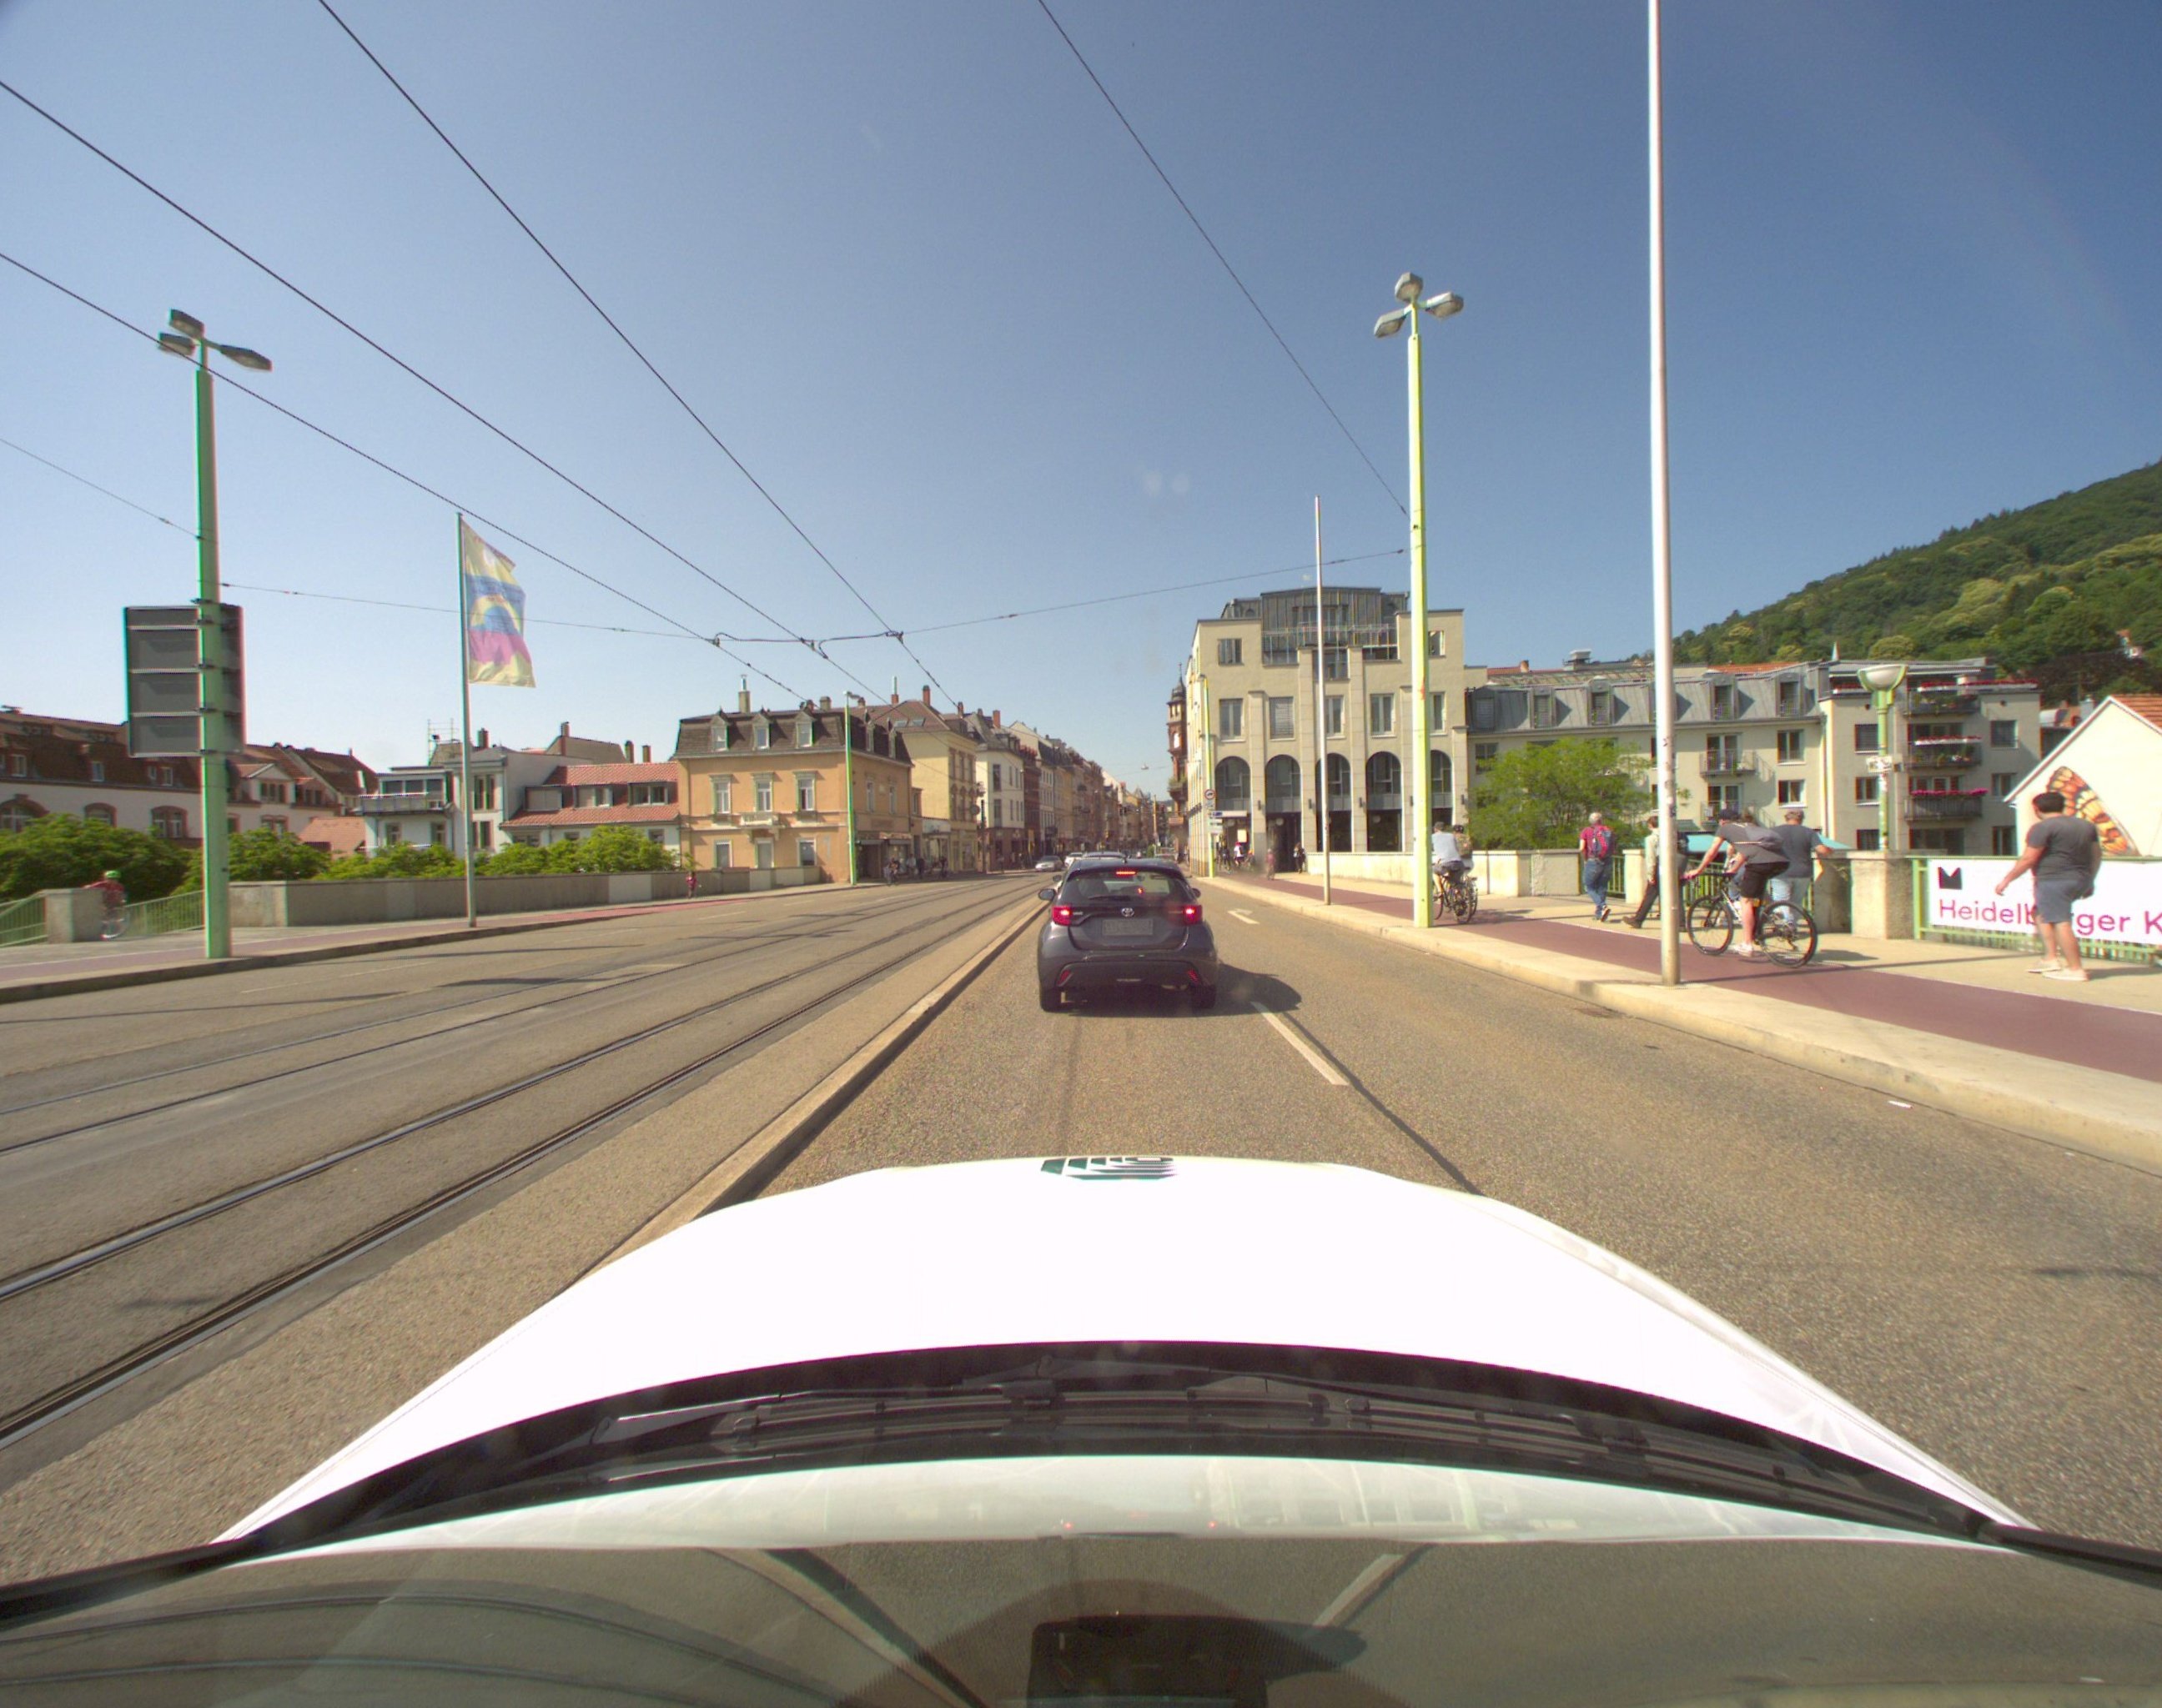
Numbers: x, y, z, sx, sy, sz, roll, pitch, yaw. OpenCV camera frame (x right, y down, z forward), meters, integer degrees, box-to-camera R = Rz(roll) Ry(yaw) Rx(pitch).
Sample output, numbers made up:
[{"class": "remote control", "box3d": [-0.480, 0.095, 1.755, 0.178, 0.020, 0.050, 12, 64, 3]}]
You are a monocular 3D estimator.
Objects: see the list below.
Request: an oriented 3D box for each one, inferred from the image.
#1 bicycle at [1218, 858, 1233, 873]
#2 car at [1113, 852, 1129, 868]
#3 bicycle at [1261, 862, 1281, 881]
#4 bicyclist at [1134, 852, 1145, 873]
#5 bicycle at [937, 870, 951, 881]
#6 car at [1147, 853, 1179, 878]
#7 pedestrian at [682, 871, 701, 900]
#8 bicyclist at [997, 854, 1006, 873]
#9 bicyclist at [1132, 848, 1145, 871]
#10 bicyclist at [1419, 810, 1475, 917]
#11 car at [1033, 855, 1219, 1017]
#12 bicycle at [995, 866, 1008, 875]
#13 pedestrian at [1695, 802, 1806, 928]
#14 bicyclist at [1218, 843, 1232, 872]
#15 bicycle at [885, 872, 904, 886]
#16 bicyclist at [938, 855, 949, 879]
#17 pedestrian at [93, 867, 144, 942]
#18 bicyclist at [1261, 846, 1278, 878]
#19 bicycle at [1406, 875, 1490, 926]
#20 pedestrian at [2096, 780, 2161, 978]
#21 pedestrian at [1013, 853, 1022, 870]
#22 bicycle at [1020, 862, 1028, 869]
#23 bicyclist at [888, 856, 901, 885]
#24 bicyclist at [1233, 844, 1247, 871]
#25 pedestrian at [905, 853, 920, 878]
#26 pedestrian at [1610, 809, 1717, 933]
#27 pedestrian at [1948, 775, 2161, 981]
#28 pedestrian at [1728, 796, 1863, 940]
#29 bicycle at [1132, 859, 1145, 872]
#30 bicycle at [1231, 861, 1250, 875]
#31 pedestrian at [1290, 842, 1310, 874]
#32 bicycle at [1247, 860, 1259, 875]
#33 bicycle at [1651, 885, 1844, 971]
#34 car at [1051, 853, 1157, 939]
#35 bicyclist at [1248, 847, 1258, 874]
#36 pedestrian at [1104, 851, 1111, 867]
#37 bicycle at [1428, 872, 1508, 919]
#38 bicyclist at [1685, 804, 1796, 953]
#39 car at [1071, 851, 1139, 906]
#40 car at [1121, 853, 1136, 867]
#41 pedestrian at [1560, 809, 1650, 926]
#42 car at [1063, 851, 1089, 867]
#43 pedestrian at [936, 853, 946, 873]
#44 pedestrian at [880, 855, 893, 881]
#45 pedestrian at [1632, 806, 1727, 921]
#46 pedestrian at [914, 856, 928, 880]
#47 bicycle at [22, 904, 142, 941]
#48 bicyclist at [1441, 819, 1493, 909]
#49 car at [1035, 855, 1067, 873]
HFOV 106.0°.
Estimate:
[{"class": "bicycle", "box3d": [8.831, 0.706, 49.794, 0.701, 0.882, 1.526, -2, 0, 2]}, {"class": "car", "box3d": [5.257, 0.795, 106.584, 1.983, 2.014, 4.006, 0, -1, 6]}, {"class": "bicycle", "box3d": [8.334, 0.753, 35.818, 0.512, 0.765, 1.661, -3, 0, 2]}, {"class": "bicyclist", "box3d": [7.274, 1.015, 100.721, 1.221, 2.529, 1.107, 3, 0, 7]}, {"class": "bicycle", "box3d": [-9.528, 1.466, 56.574, 0.618, 0.716, 1.732, 0, 1, 2]}, {"class": "car", "box3d": [5.187, 0.698, 51.741, 1.699, 1.466, 4.327, 0, 0, 1]}, {"class": "pedestrian", "box3d": [-16.022, 1.304, 33.525, 0.409, 1.146, 0.546, 3, 0, 9]}, {"class": "bicyclist", "box3d": [-7.002, 0.809, 72.031, 0.623, 1.650, 0.623, 0, 1, 10]}, {"class": "bicyclist", "box3d": [6.567, 0.635, 92.995, 1.224, 2.529, 1.105, 3, 0, 0]}, {"class": "bicyclist", "box3d": [6.433, 0.160, 14.339, 0.585, 1.820, 0.702, -2, 0, -1]}, {"class": "car", "box3d": [0.455, 0.760, 9.343, 1.713, 1.473, 3.659, 0, 0, 1]}, {"class": "bicycle", "box3d": [-7.012, 1.424, 71.970, 0.616, 0.716, 2.051, 0, 1, 11]}, {"class": "pedestrian", "box3d": [9.801, 0.155, 11.970, 0.736, 1.746, 1.016, -3, 0, 3]}, {"class": "bicyclist", "box3d": [8.807, 0.208, 49.801, 0.699, 1.695, 0.925, -2, 0, 2]}, {"class": "bicycle", "box3d": [-10.873, 1.468, 47.488, 0.618, 0.716, 1.772, 0, 1, 2]}, {"class": "bicyclist", "box3d": [-9.536, 0.911, 56.506, 0.625, 1.650, 0.622, 0, 1, 2]}, {"class": "pedestrian", "box3d": [-21.305, 1.104, 18.035, 0.623, 1.632, 0.413, 1, 0, 3]}, {"class": "bicyclist", "box3d": [8.321, 0.358, 35.906, 0.532, 1.383, 0.669, -3, 0, 1]}, {"class": "bicycle", "box3d": [6.461, 0.795, 14.434, 0.592, 0.765, 1.866, -3, 0, -1]}, {"class": "pedestrian", "box3d": [9.749, 0.206, 6.992, 0.736, 1.718, 1.016, -2, 0, 1]}, {"class": "pedestrian", "box3d": [-6.765, 0.834, 86.611, 0.733, 1.766, 0.787, -4, 0, 2]}, {"class": "bicycle", "box3d": [-6.084, 1.181, 86.578, 0.618, 0.716, 1.771, -1, 0, 2]}, {"class": "bicyclist", "box3d": [-10.873, 0.937, 47.455, 0.625, 1.650, 0.622, 0, 1, 2]}, {"class": "bicyclist", "box3d": [8.981, 0.188, 46.015, 0.487, 1.466, 0.438, -3, 0, -38]}, {"class": "pedestrian", "box3d": [-11.922, 0.811, 57.591, 0.733, 1.766, 0.787, 3, 0, 2]}, {"class": "pedestrian", "box3d": [8.604, 0.235, 12.080, 0.752, 1.718, 1.073, -3, 0, 1]}, {"class": "pedestrian", "box3d": [8.882, 0.202, 7.452, 0.736, 1.718, 1.016, -3, 0, 1]}, {"class": "pedestrian", "box3d": [9.440, 0.185, 10.834, 0.968, 1.777, 1.214, -3, 0, 24]}, {"class": "bicycle", "box3d": [6.519, 1.251, 92.665, 1.109, 1.420, 3.005, 2, 0, -1]}, {"class": "bicycle", "box3d": [8.999, 0.797, 46.023, 0.420, 0.765, 0.951, -3, 0, -37]}, {"class": "pedestrian", "box3d": [11.407, 0.217, 42.397, 0.736, 1.615, 1.016, 3, 0, 1]}, {"class": "bicycle", "box3d": [9.326, 0.743, 44.110, 0.415, 0.765, 0.962, -3, 0, 2]}, {"class": "bicycle", "box3d": [7.283, 0.769, 9.025, 0.592, 0.765, 1.830, -3, 0, -1]}, {"class": "car", "box3d": [0.454, 0.745, 16.488, 1.890, 1.530, 4.001, 0, 0, 1]}, {"class": "bicyclist", "box3d": [9.306, 0.348, 44.088, 0.421, 1.383, 0.443, -3, 0, 1]}, {"class": "pedestrian", "box3d": [4.491, 0.894, 137.155, 1.047, 2.588, 1.502, 3, 0, 2]}, {"class": "bicycle", "box3d": [7.343, 0.767, 15.561, 0.592, 0.765, 1.866, -3, 0, -1]}, {"class": "bicyclist", "box3d": [7.268, 0.260, 9.004, 0.585, 1.559, 0.702, -2, 0, -1]}, {"class": "car", "box3d": [0.704, 0.670, 24.645, 1.890, 1.530, 4.001, 0, 0, 1]}, {"class": "car", "box3d": [7.180, 0.899, 123.016, 1.984, 2.013, 4.007, 3, 0, 6]}, {"class": "pedestrian", "box3d": [8.539, 0.214, 13.323, 0.736, 1.802, 1.016, -3, 0, 1]}, {"class": "car", "box3d": [-0.518, 0.512, 86.408, 1.981, 1.586, 4.665, -2, 0, 10]}, {"class": "pedestrian", "box3d": [-11.493, 0.707, 66.943, 0.646, 1.602, 0.566, 3, 2, 2]}, {"class": "pedestrian", "box3d": [-12.728, 0.909, 53.316, 0.646, 1.602, 0.566, 3, 2, 2]}, {"class": "pedestrian", "box3d": [9.803, 0.145, 13.377, 0.736, 1.777, 1.016, -3, 0, 2]}, {"class": "pedestrian", "box3d": [-11.136, 0.970, 56.666, 0.759, 1.654, 0.712, 3, 0, 2]}, {"class": "bicycle", "box3d": [-21.474, 1.462, 17.520, 1.918, 0.716, 0.623, 0, 1, 4]}, {"class": "bicyclist", "box3d": [7.311, 0.187, 15.466, 0.585, 1.650, 0.702, -2, 0, -1]}, {"class": "car", "box3d": [-2.596, 0.846, 71.505, 1.720, 1.460, 4.387, -2, 0, 11]}]
